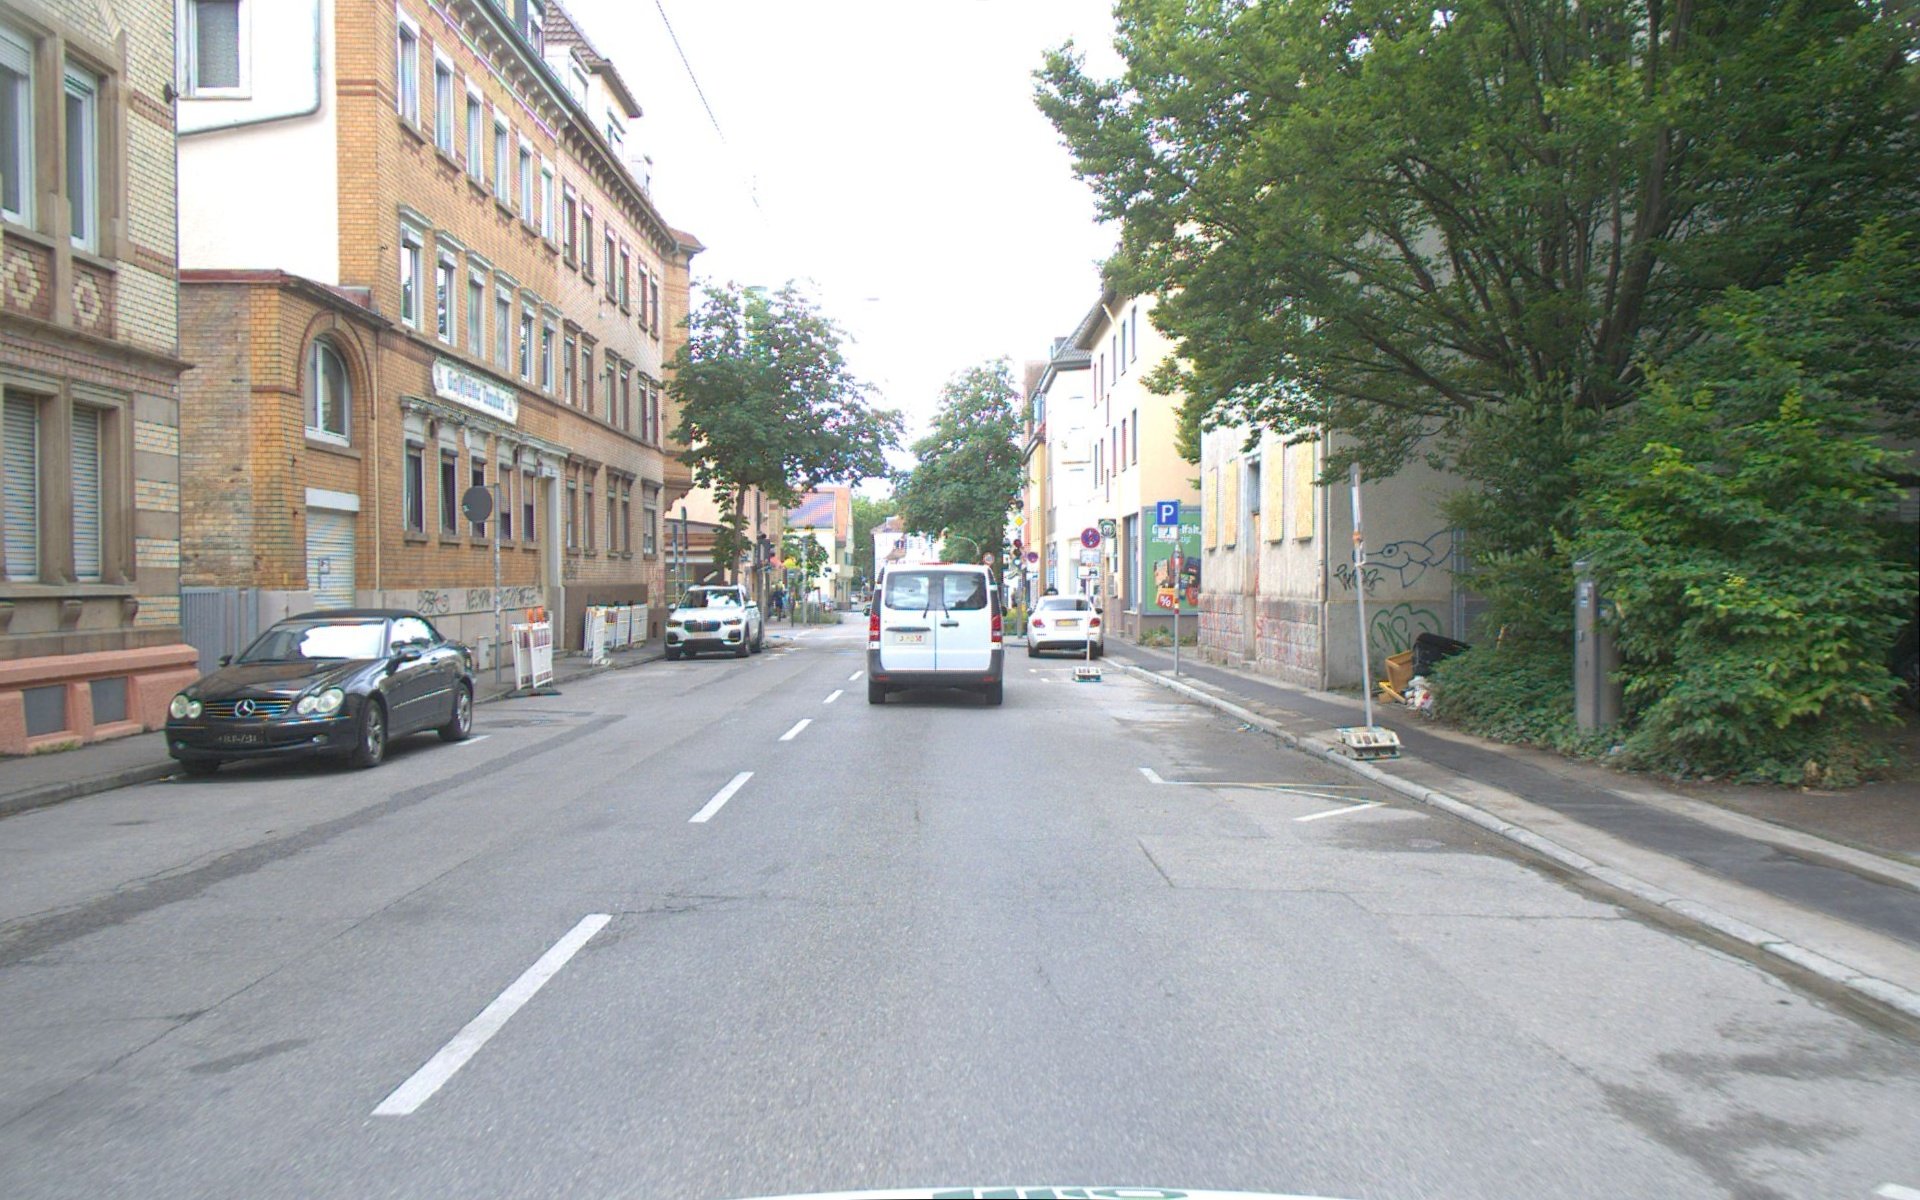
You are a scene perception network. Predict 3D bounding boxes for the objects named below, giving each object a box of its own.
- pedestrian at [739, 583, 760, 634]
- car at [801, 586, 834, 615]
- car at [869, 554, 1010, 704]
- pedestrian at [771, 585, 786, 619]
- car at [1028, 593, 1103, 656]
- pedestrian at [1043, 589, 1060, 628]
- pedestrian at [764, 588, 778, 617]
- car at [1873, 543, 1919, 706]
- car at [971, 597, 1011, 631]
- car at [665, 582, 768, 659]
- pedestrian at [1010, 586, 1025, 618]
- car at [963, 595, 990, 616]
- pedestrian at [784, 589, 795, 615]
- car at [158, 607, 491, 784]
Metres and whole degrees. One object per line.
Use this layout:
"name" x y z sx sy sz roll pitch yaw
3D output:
"pedestrian" -7.299 0.289 57.380 0.724 1.785 0.981 0 0 -7
"car" -8.191 0.006 95.228 1.669 1.601 4.448 -2 1 -3
"car" -0.311 0.374 23.581 1.835 1.945 3.999 0 0 -1
"pedestrian" -9.299 0.102 84.858 0.724 1.748 1.155 0 0 -4
"car" 2.588 0.566 41.402 1.731 1.491 4.784 0 0 2
"pedestrian" 3.966 0.361 71.779 0.602 1.681 0.982 1 0 -3
"pedestrian" -10.762 0.144 94.101 0.717 1.657 0.756 0 0 -12
"car" 10.453 0.242 15.219 1.604 1.612 3.996 -3 1 -5
"car" 1.660 0.759 90.097 1.783 1.812 4.399 0 0 -4
"car" -5.981 0.468 41.147 1.852 1.742 4.740 -2 0 -1
"pedestrian" 3.066 0.100 88.461 0.687 1.678 0.888 -1 0 -3
"car" 1.071 0.339 107.629 1.520 1.356 3.810 0 0 -3
"pedestrian" -10.374 0.138 100.526 0.559 1.581 0.696 1 0 -2
"car" -5.998 0.814 16.190 1.546 1.407 4.354 -2 0 0
